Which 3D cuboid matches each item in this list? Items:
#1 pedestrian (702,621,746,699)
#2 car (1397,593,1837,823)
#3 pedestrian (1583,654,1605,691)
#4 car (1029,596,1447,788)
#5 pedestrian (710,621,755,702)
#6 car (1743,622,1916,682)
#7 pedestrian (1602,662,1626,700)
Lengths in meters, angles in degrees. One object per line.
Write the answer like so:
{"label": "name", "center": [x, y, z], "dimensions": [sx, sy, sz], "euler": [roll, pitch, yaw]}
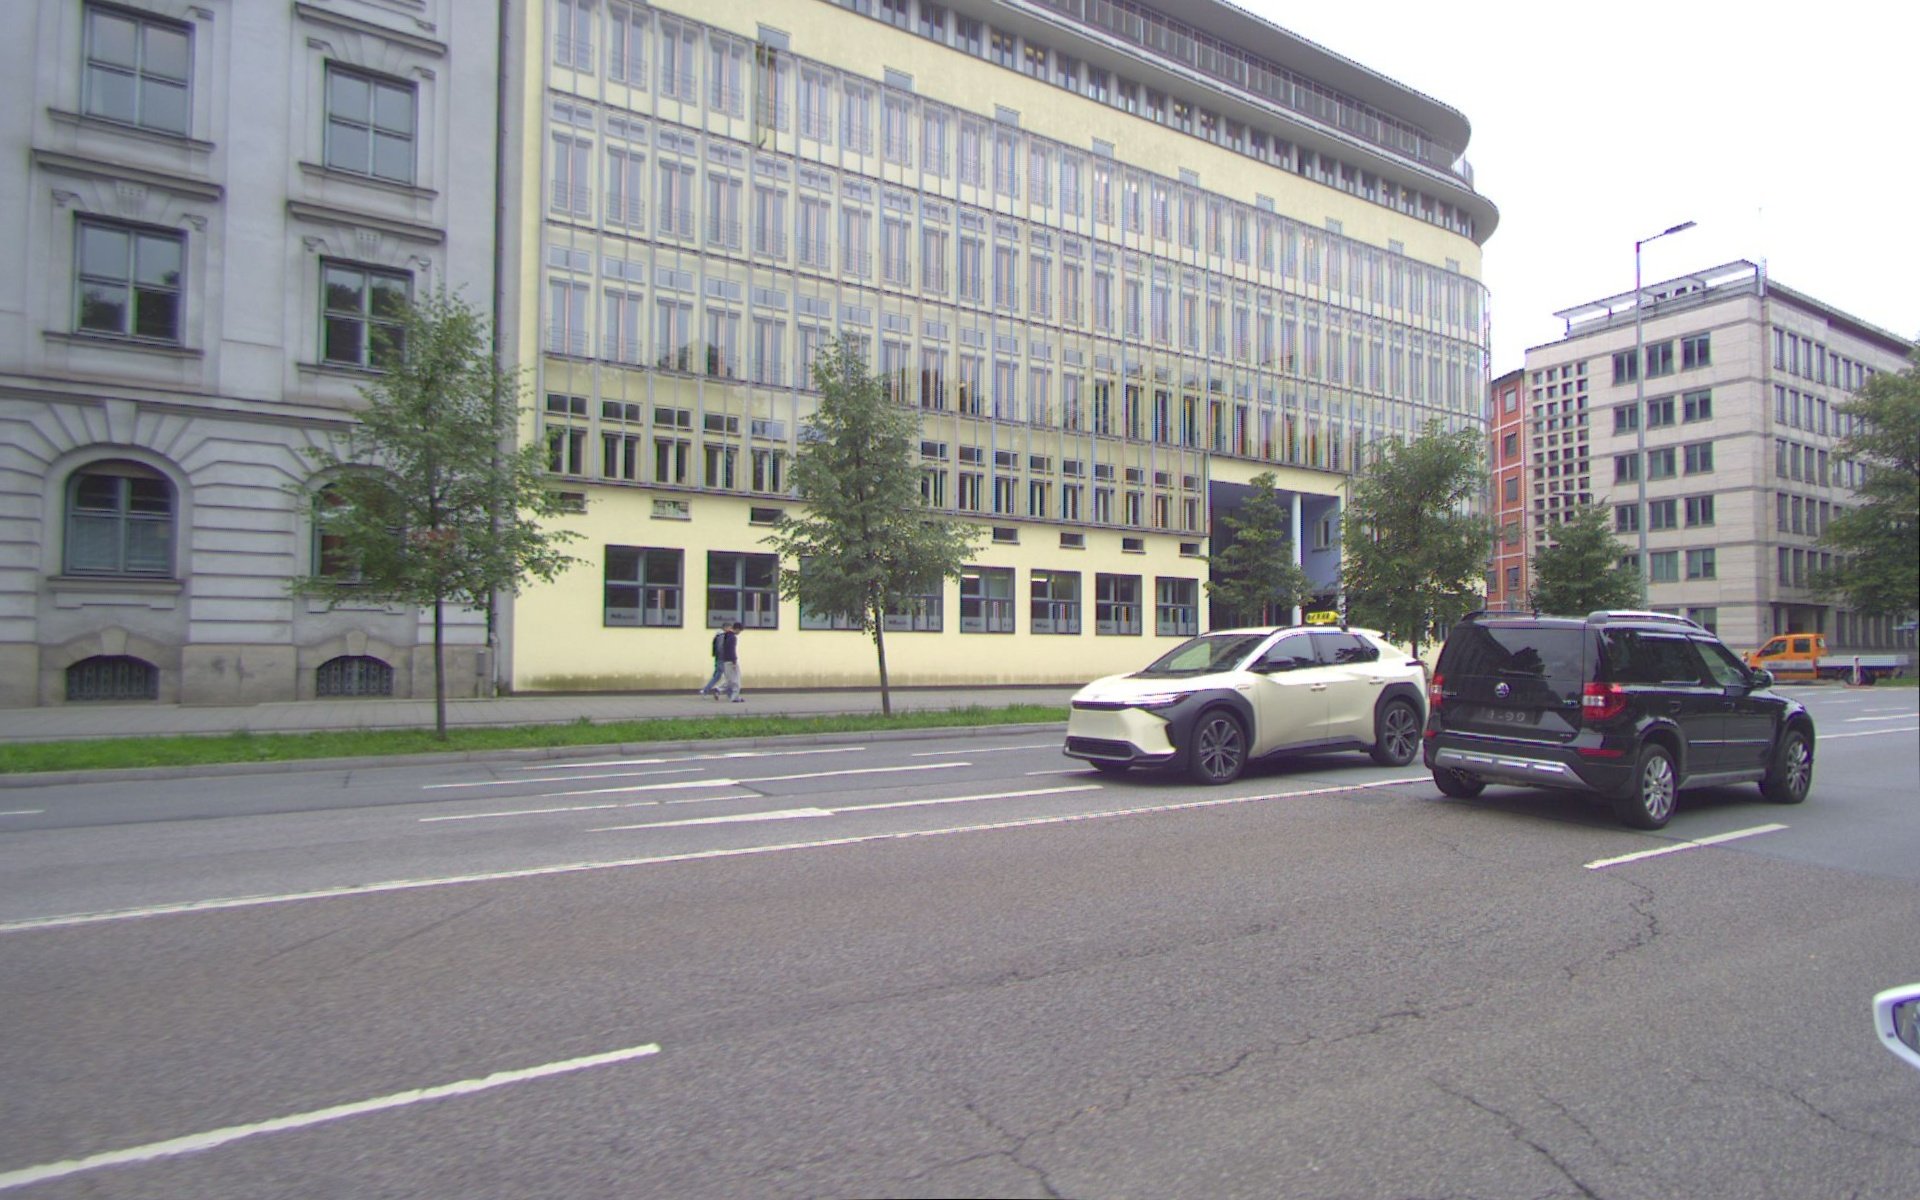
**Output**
{"label": "pedestrian", "center": [-5.516, 1.389, 23.467], "dimensions": [0.826, 1.800, 0.612], "euler": [1, -1, -30]}
{"label": "car", "center": [6.026, 0.880, 9.115], "dimensions": [4.157, 1.658, 1.714], "euler": [2, -3, -31]}
{"label": "pedestrian", "center": [31.576, 3.603, 50.002], "dimensions": [0.665, 1.798, 0.680], "euler": [1, -1, -26]}
{"label": "car", "center": [3.187, 0.959, 11.279], "dimensions": [4.575, 1.771, 1.849], "euler": [1, -4, -30]}
{"label": "pedestrian", "center": [-5.177, 1.378, 22.822], "dimensions": [0.826, 1.800, 0.612], "euler": [1, -1, -30]}
{"label": "car", "center": [39.904, 2.387, 46.292], "dimensions": [2.134, 2.569, 5.647], "euler": [2, -3, -34]}
{"label": "pedestrian", "center": [32.107, 3.970, 49.304], "dimensions": [0.773, 1.798, 0.680], "euler": [1, -1, -26]}
